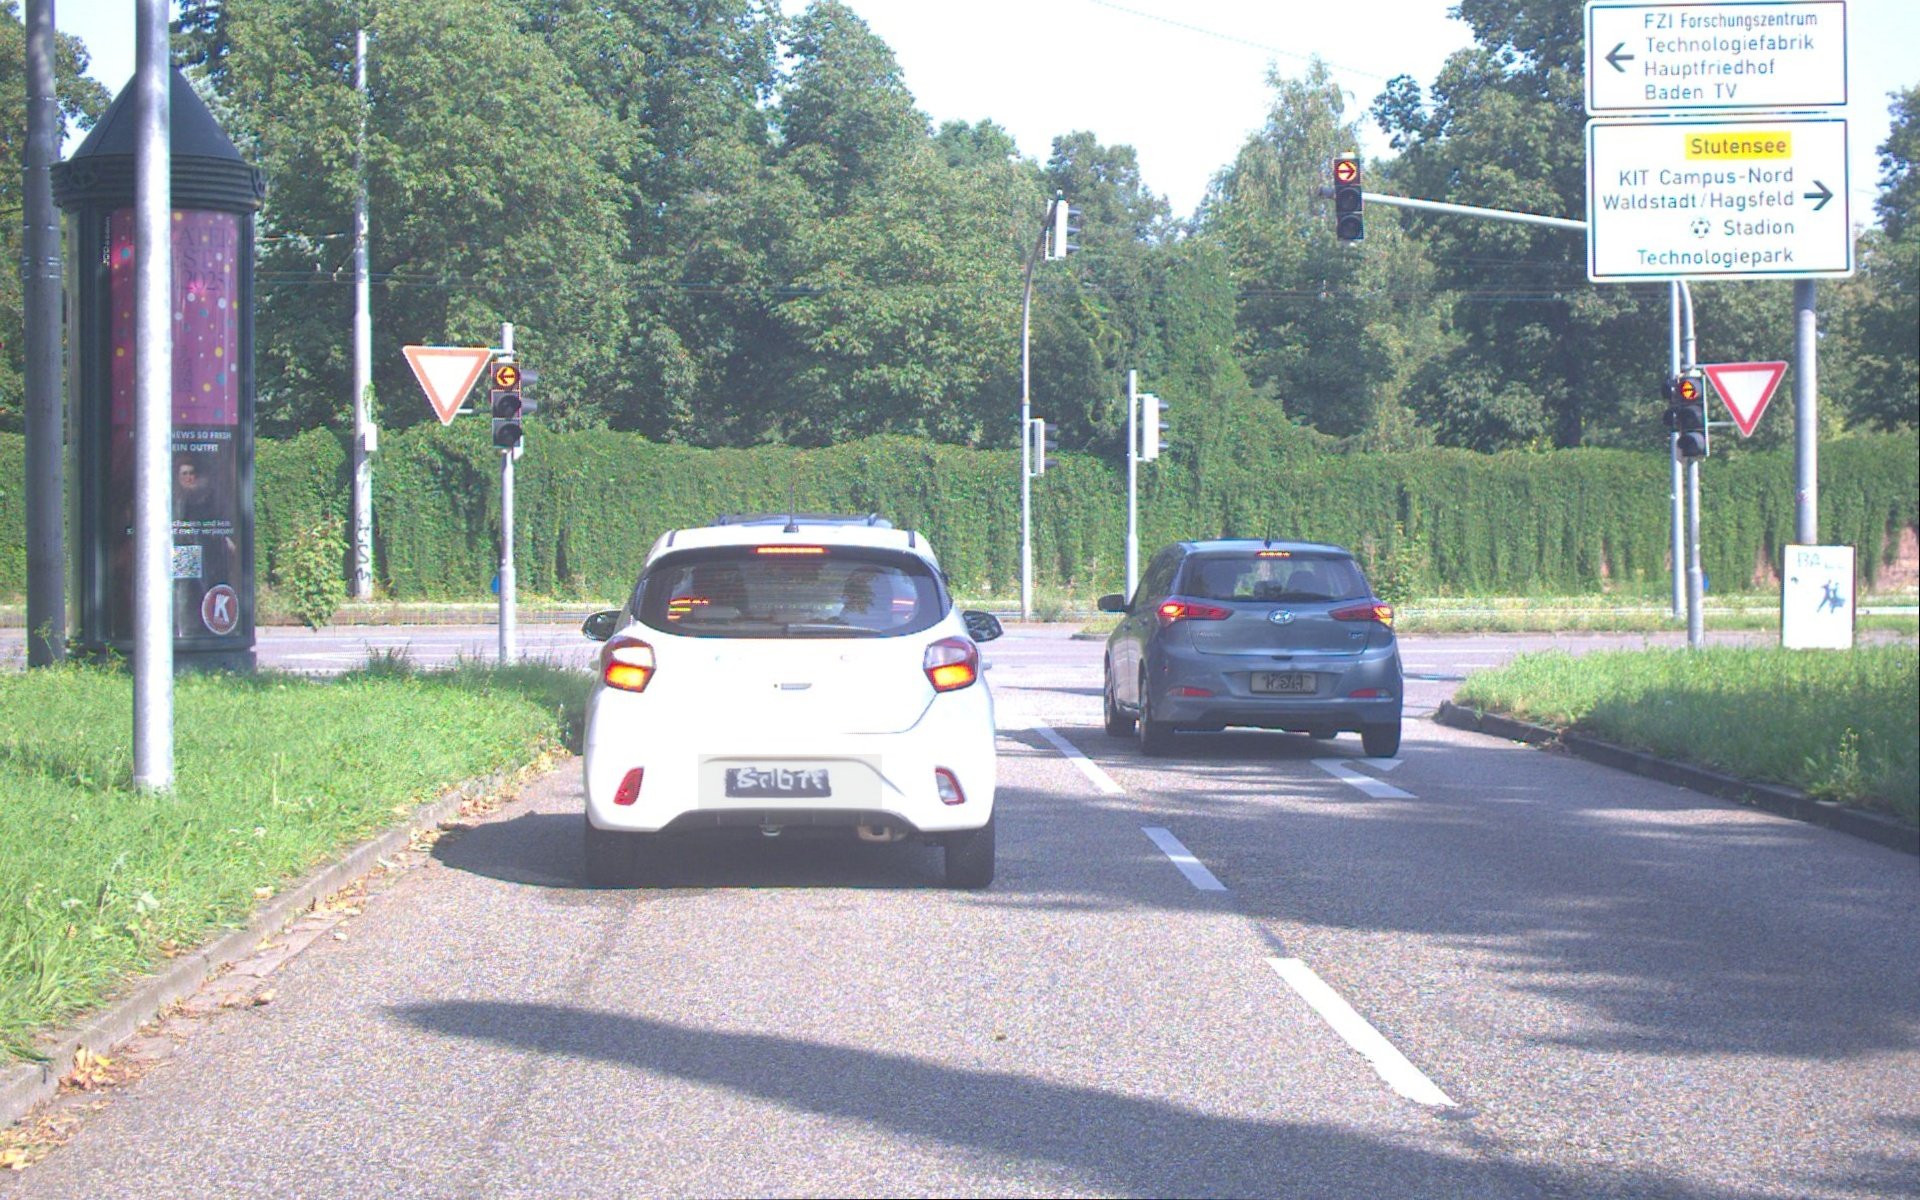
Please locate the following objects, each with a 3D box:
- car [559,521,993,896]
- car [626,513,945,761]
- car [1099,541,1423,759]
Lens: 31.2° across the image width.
[{"bbox_3d":[-0.731,0.394,15.450,1.687,1.457,4.000,0,1,0],"label":"car"},{"bbox_3d":[-1.047,0.189,22.350,1.687,1.457,3.849,0,1,3],"label":"car"},{"bbox_3d":[2.030,0.293,24.237,1.797,1.396,4.000,0,1,-2],"label":"car"}]
